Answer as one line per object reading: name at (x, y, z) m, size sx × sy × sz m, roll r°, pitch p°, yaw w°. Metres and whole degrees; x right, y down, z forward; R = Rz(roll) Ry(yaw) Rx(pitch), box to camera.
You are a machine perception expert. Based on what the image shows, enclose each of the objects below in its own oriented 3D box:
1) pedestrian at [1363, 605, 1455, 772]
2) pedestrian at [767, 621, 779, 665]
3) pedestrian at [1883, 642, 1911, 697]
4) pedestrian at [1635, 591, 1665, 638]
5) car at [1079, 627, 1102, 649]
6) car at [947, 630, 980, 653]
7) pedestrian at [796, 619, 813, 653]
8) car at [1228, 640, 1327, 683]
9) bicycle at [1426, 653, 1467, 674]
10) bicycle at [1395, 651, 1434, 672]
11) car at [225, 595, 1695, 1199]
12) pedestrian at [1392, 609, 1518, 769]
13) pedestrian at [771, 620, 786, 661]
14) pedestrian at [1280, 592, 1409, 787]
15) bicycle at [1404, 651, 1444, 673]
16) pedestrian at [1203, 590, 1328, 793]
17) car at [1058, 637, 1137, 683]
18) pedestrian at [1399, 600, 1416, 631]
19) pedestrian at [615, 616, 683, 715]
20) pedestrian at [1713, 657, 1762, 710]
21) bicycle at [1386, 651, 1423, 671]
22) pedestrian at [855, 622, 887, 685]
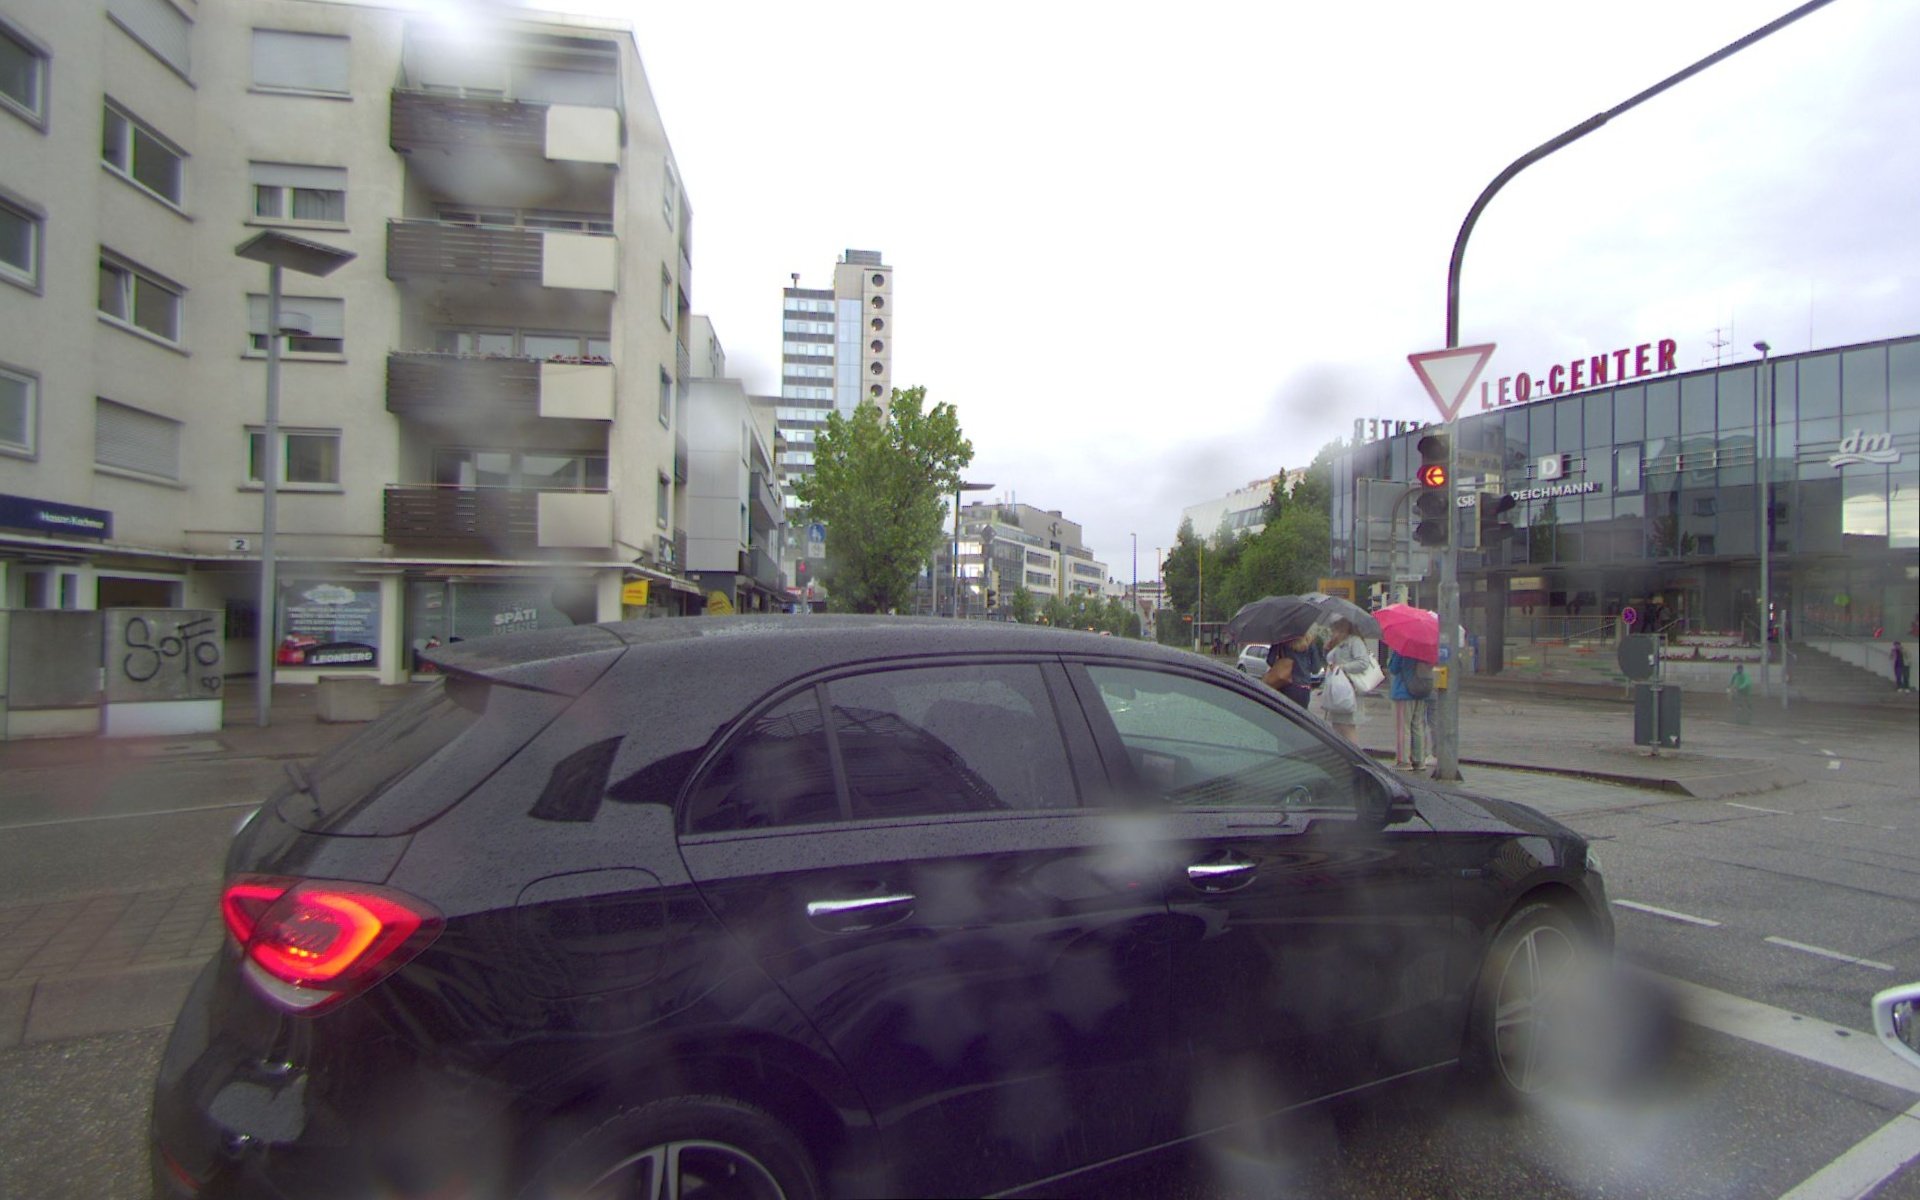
pedestrian at (4.815, 0.929, 10.813) m, size 0.790 × 1.707 × 0.674 m, roll 1°, pitch -2°, yaw 14°
pedestrian at (-7.616, 1.746, 40.956) m, size 0.441 × 1.746 × 0.499 m, roll 1°, pitch -2°, yaw -12°
pedestrian at (34.084, 2.514, 36.545) m, size 0.589 × 1.933 × 0.651 m, roll 2°, pitch -1°, yaw -37°
pedestrian at (30.184, 0.632, 43.958) m, size 0.945 × 2.040 × 0.822 m, roll 2°, pitch 0°, yaw -42°
car at (12.486, 3.620, 96.195) m, size 2.008 × 1.921 × 4.141 m, roll 1°, pitch -1°, yaw 6°
car at (0.201, 2.644, 63.966) m, size 1.414 × 1.314 × 3.770 m, roll 2°, pitch -1°, yaw -11°
pedestrian at (-8.635, 1.992, 55.812) m, size 0.859 × 1.835 × 0.923 m, roll 1°, pitch -1°, yaw -10°
car at (12.018, 2.294, 38.316) m, size 1.717 × 1.460 × 3.980 m, roll 2°, pitch -1°, yaw -15°
bicycle at (24.484, 3.192, 50.518) m, size 1.822 × 1.036 × 0.631 m, roll 0°, pitch -2°, yaw -12°
bicycle at (23.931, 3.234, 52.884) m, size 1.822 × 1.047 × 0.628 m, roll -1°, pitch -2°, yaw -12°
car at (0.352, 0.777, 3.067) m, size 4.048 × 1.501 × 1.654 m, roll 1°, pitch 1°, yaw -32°
pedestrian at (5.579, 0.971, 11.346) m, size 0.906 × 1.699 × 0.931 m, roll 2°, pitch -2°, yaw -30°
pedestrian at (-8.157, 1.825, 45.128) m, size 0.557 × 1.817 × 0.491 m, roll 1°, pitch -2°, yaw -4°
pedestrian at (3.711, 0.834, 9.794) m, size 0.843 × 1.767 × 1.139 m, roll 1°, pitch -2°, yaw 3°
bicycle at (24.084, 3.229, 52.142) m, size 1.822 × 1.056 × 0.646 m, roll -1°, pitch -2°, yaw -12°
pedestrian at (2.841, 0.814, 9.309) m, size 0.937 × 1.759 × 0.835 m, roll 0°, pitch -2°, yaw 30°
car at (4.803, 2.081, 35.860) m, size 2.082 × 1.432 × 5.147 m, roll 2°, pitch -2°, yaw 0°
pedestrian at (25.296, 0.873, 56.761) m, size 0.642 × 1.736 × 0.599 m, roll 2°, pitch 0°, yaw -6°
pedestrian at (-5.191, 1.077, 16.776) m, size 0.904 × 1.606 × 0.651 m, roll 2°, pitch -2°, yaw -33°
pedestrian at (24.847, 2.646, 32.107) m, size 0.794 × 1.644 × 0.951 m, roll 1°, pitch -2°, yaw -7°
bicycle at (23.701, 3.243, 53.550) m, size 1.821 × 0.964 × 0.535 m, roll -1°, pitch 0°, yaw -8°
pedestrian at (-2.403, 1.442, 27.272) m, size 0.799 × 1.677 × 0.714 m, roll 1°, pitch -2°, yaw -3°
